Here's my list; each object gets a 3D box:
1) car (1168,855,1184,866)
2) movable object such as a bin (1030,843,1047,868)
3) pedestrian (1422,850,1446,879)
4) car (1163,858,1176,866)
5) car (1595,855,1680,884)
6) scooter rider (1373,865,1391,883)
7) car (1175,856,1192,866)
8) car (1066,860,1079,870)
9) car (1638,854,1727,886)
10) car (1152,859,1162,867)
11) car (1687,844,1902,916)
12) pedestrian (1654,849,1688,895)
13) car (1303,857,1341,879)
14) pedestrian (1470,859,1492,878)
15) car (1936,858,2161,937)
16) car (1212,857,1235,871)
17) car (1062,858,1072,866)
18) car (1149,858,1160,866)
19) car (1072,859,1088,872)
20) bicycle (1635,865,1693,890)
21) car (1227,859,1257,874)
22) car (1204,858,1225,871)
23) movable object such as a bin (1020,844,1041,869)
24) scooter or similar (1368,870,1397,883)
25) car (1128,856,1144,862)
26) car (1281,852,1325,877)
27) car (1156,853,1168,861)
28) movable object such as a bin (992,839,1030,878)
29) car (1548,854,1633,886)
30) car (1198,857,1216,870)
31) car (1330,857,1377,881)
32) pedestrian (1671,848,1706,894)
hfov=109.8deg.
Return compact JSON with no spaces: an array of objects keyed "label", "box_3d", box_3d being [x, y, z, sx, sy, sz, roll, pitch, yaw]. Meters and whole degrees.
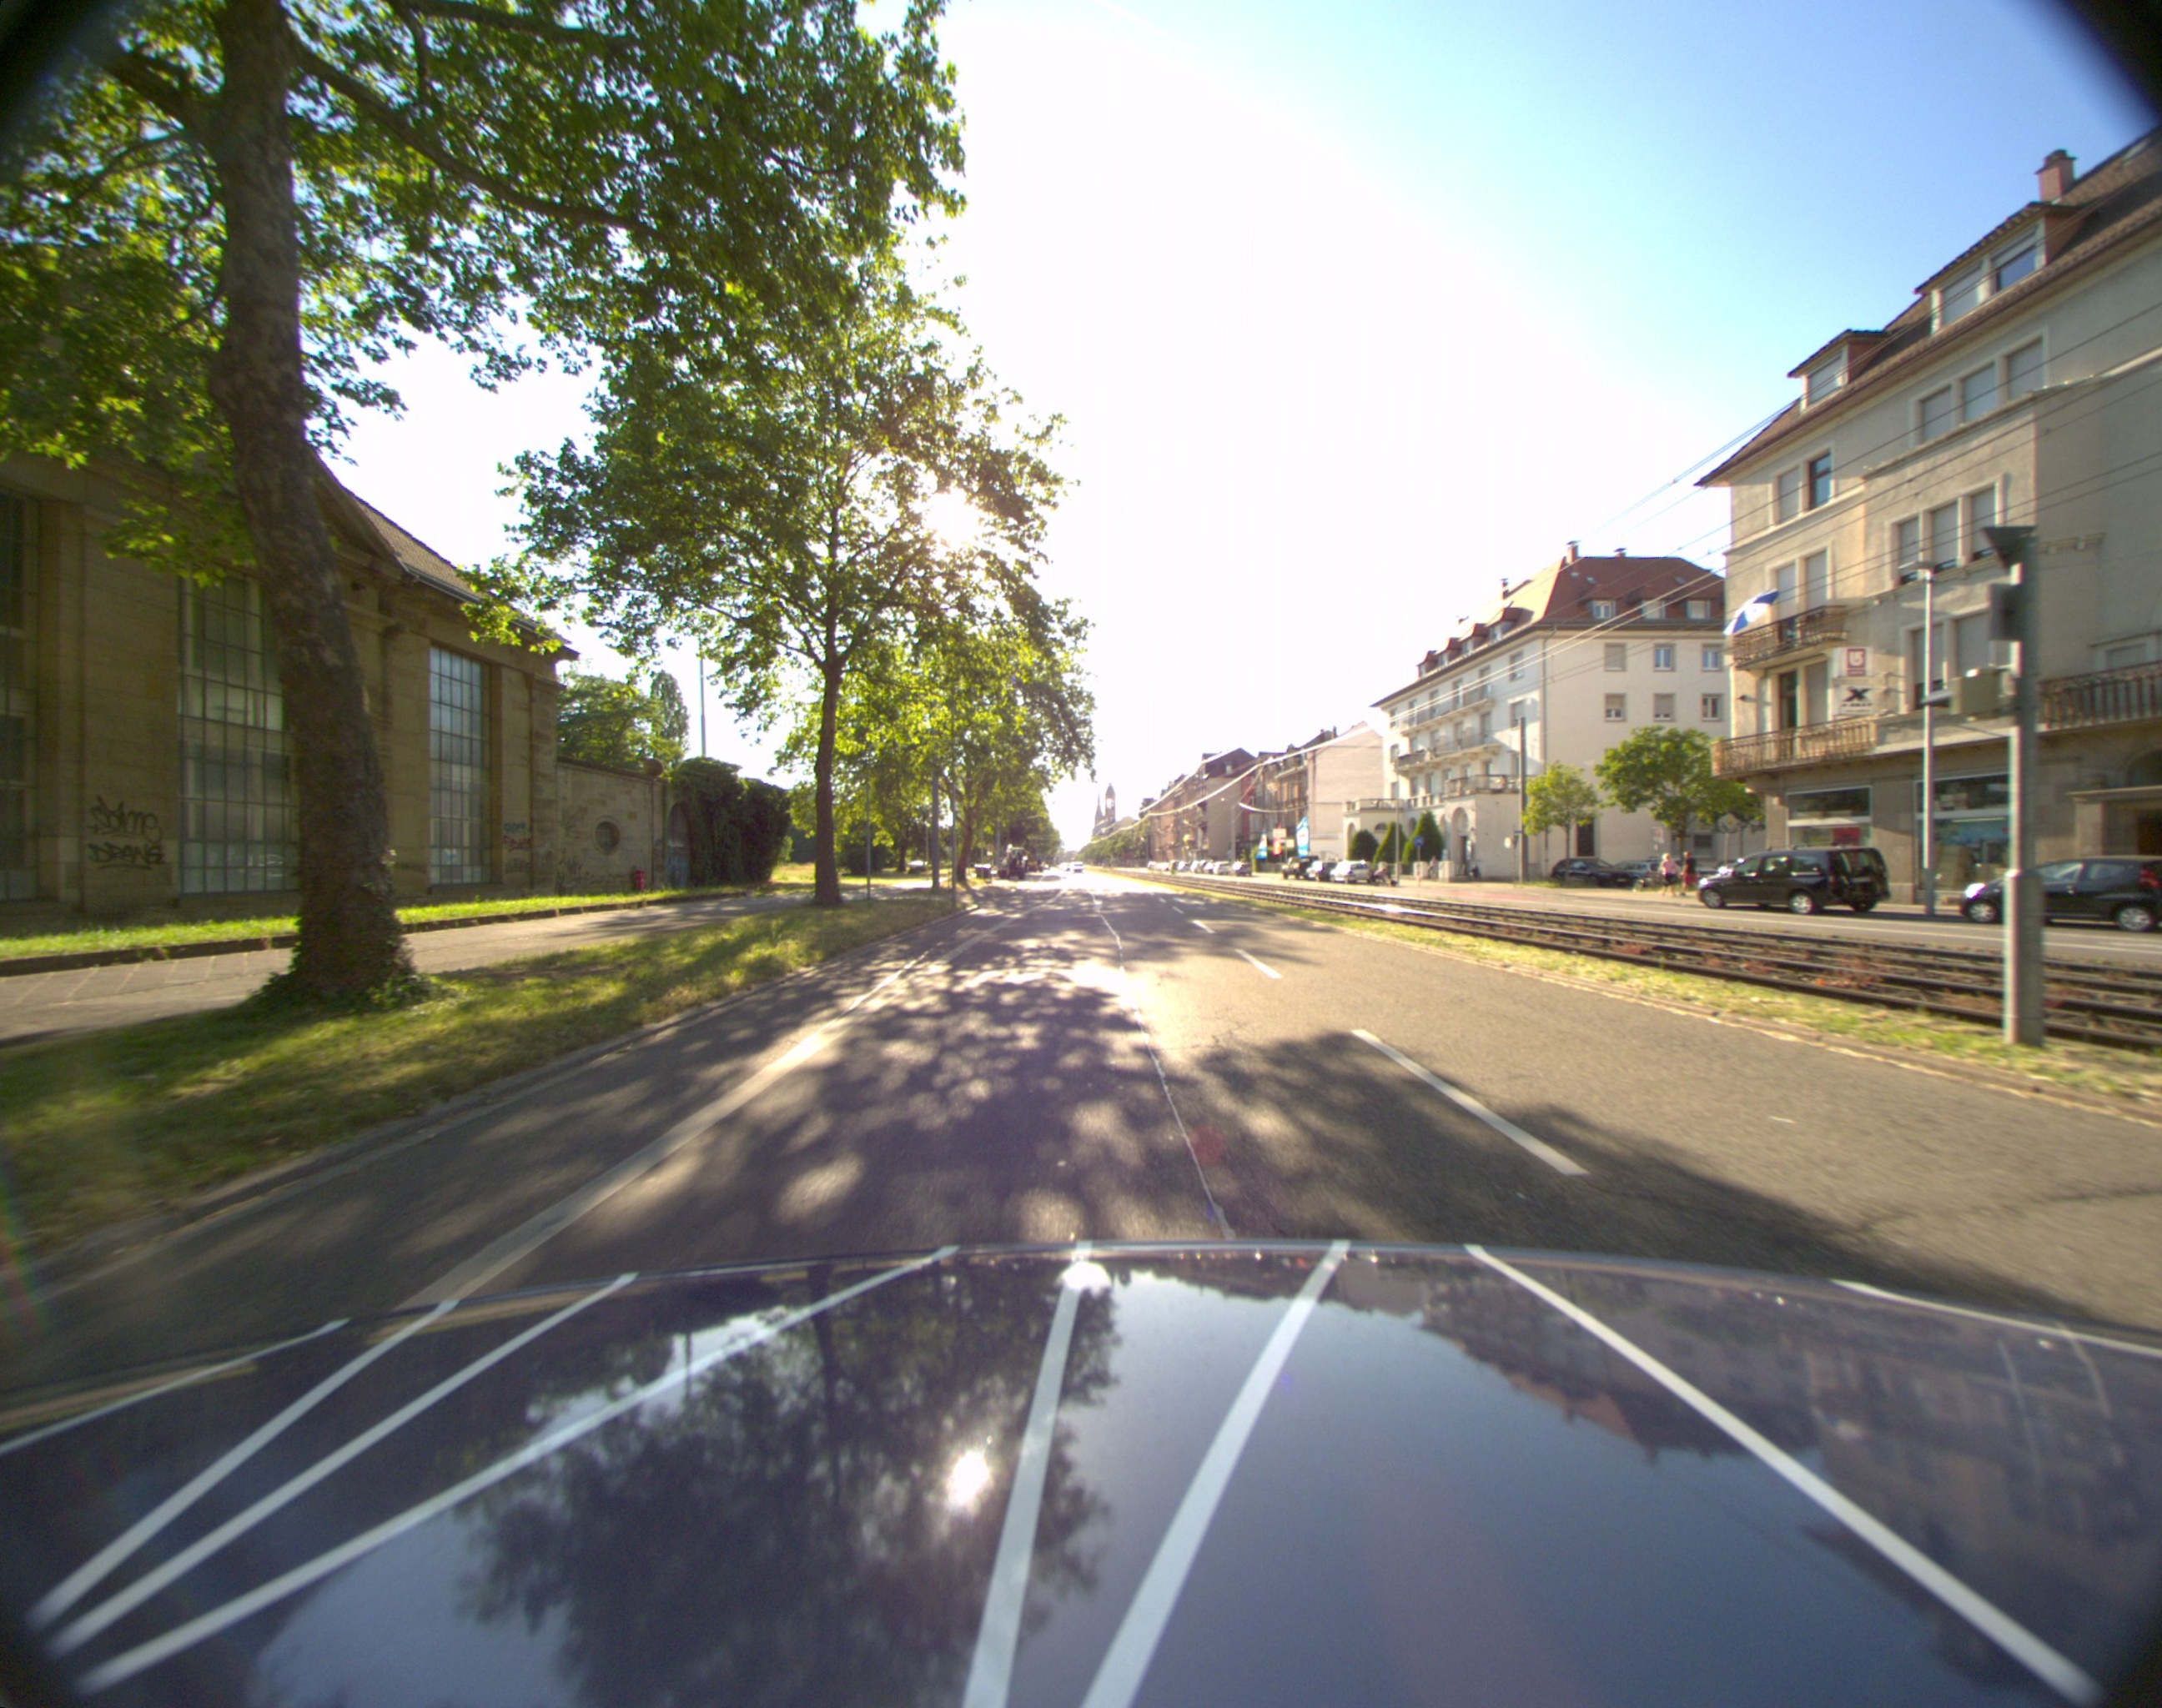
[{"label":"car","box_3d":[16.265,1.089,130.305,1.664,1.796,4.727,-2,0,-3]},{"label":"movable object such as a bin","box_3d":[-8.286,0.357,147.194,2.923,4.583,7.596,2,0,-4]},{"label":"pedestrian","box_3d":[22.814,0.674,49.066,0.995,1.767,0.934,-3,1,-16]},{"label":"car","box_3d":[15.851,1.383,135.698,1.664,1.437,3.980,-2,0,-2]},{"label":"car","box_3d":[31.778,0.862,43.525,1.799,1.502,3.998,0,1,-2]},{"label":"scooter rider","box_3d":[18.512,1.210,46.730,0.976,1.082,0.810,0,0,29]},{"label":"car","box_3d":[16.734,1.166,124.011,1.926,1.529,4.626,-2,0,-2]},{"label":"car","box_3d":[-1.366,1.661,116.642,1.799,1.501,3.999,-2,0,-2]},{"label":"car","box_3d":[34.328,0.879,43.492,1.799,1.649,3.998,0,1,-2]},{"label":"car","box_3d":[15.661,1.809,156.608,1.664,1.437,3.764,-2,0,-2]},{"label":"car","box_3d":[20.260,0.710,21.895,1.867,1.776,4.401,-2,-1,-3]},{"label":"pedestrian","box_3d":[22.369,0.671,28.817,0.591,1.687,0.857,-2,1,-3]},{"label":"car","box_3d":[18.656,1.057,58.970,1.639,1.498,4.158,-2,1,0]},{"label":"pedestrian","box_3d":[25.168,0.903,47.827,0.879,1.180,0.894,-3,1,-10]},{"label":"car","box_3d":[20.914,0.822,16.027,1.632,1.383,3.508,-4,0,-3]},{"label":"car","box_3d":[17.557,1.226,94.052,1.925,1.684,4.842,-2,0,0]},{"label":"car","box_3d":[-2.655,1.554,145.146,1.799,1.501,3.999,-2,0,-2]},{"label":"car","box_3d":[15.640,1.702,161.311,1.799,1.633,4.630,-2,0,0]},{"label":"car","box_3d":[-0.159,1.383,92.848,1.799,1.501,3.999,-2,0,-2]},{"label":"bicycle","box_3d":[25.920,1.023,33.848,0.685,1.010,2.413,-2,-1,0]},{"label":"car","box_3d":[17.874,1.344,84.733,1.926,1.452,4.841,-6,0,-4]},{"label":"car","box_3d":[17.496,1.342,99.896,1.925,1.551,4.842,-3,0,0]},{"label":"movable object such as a bin","box_3d":[-8.469,0.458,127.260,3.348,3.953,7.596,2,0,-4]},{"label":"scooter or similar","box_3d":[18.550,1.405,46.713,1.565,0.766,0.810,0,0,29]},{"label":"car","box_3d":[14.868,1.341,205.832,3.991,1.501,1.802,-2,1,19]},{"label":"car","box_3d":[18.987,0.865,65.250,2.082,1.998,5.591,-2,0,0]},{"label":"car","box_3d":[15.691,0.578,146.697,1.664,1.437,3.980,-2,0,-2]},{"label":"movable object such as a bin","box_3d":[-6.158,0.423,67.834,2.751,3.127,7.219,3,-1,-1]},{"label":"car","box_3d":[28.762,0.857,43.081,1.799,1.631,4.260,0,1,-2]},{"label":"car","box_3d":[17.498,1.310,105.683,1.925,1.770,4.499,-2,0,1]},{"label":"car","box_3d":[19.104,1.048,53.501,1.799,1.501,3.999,-2,0,-1]},{"label":"pedestrian","box_3d":[23.158,0.637,28.980,0.591,1.687,0.857,-2,1,-3]}]
